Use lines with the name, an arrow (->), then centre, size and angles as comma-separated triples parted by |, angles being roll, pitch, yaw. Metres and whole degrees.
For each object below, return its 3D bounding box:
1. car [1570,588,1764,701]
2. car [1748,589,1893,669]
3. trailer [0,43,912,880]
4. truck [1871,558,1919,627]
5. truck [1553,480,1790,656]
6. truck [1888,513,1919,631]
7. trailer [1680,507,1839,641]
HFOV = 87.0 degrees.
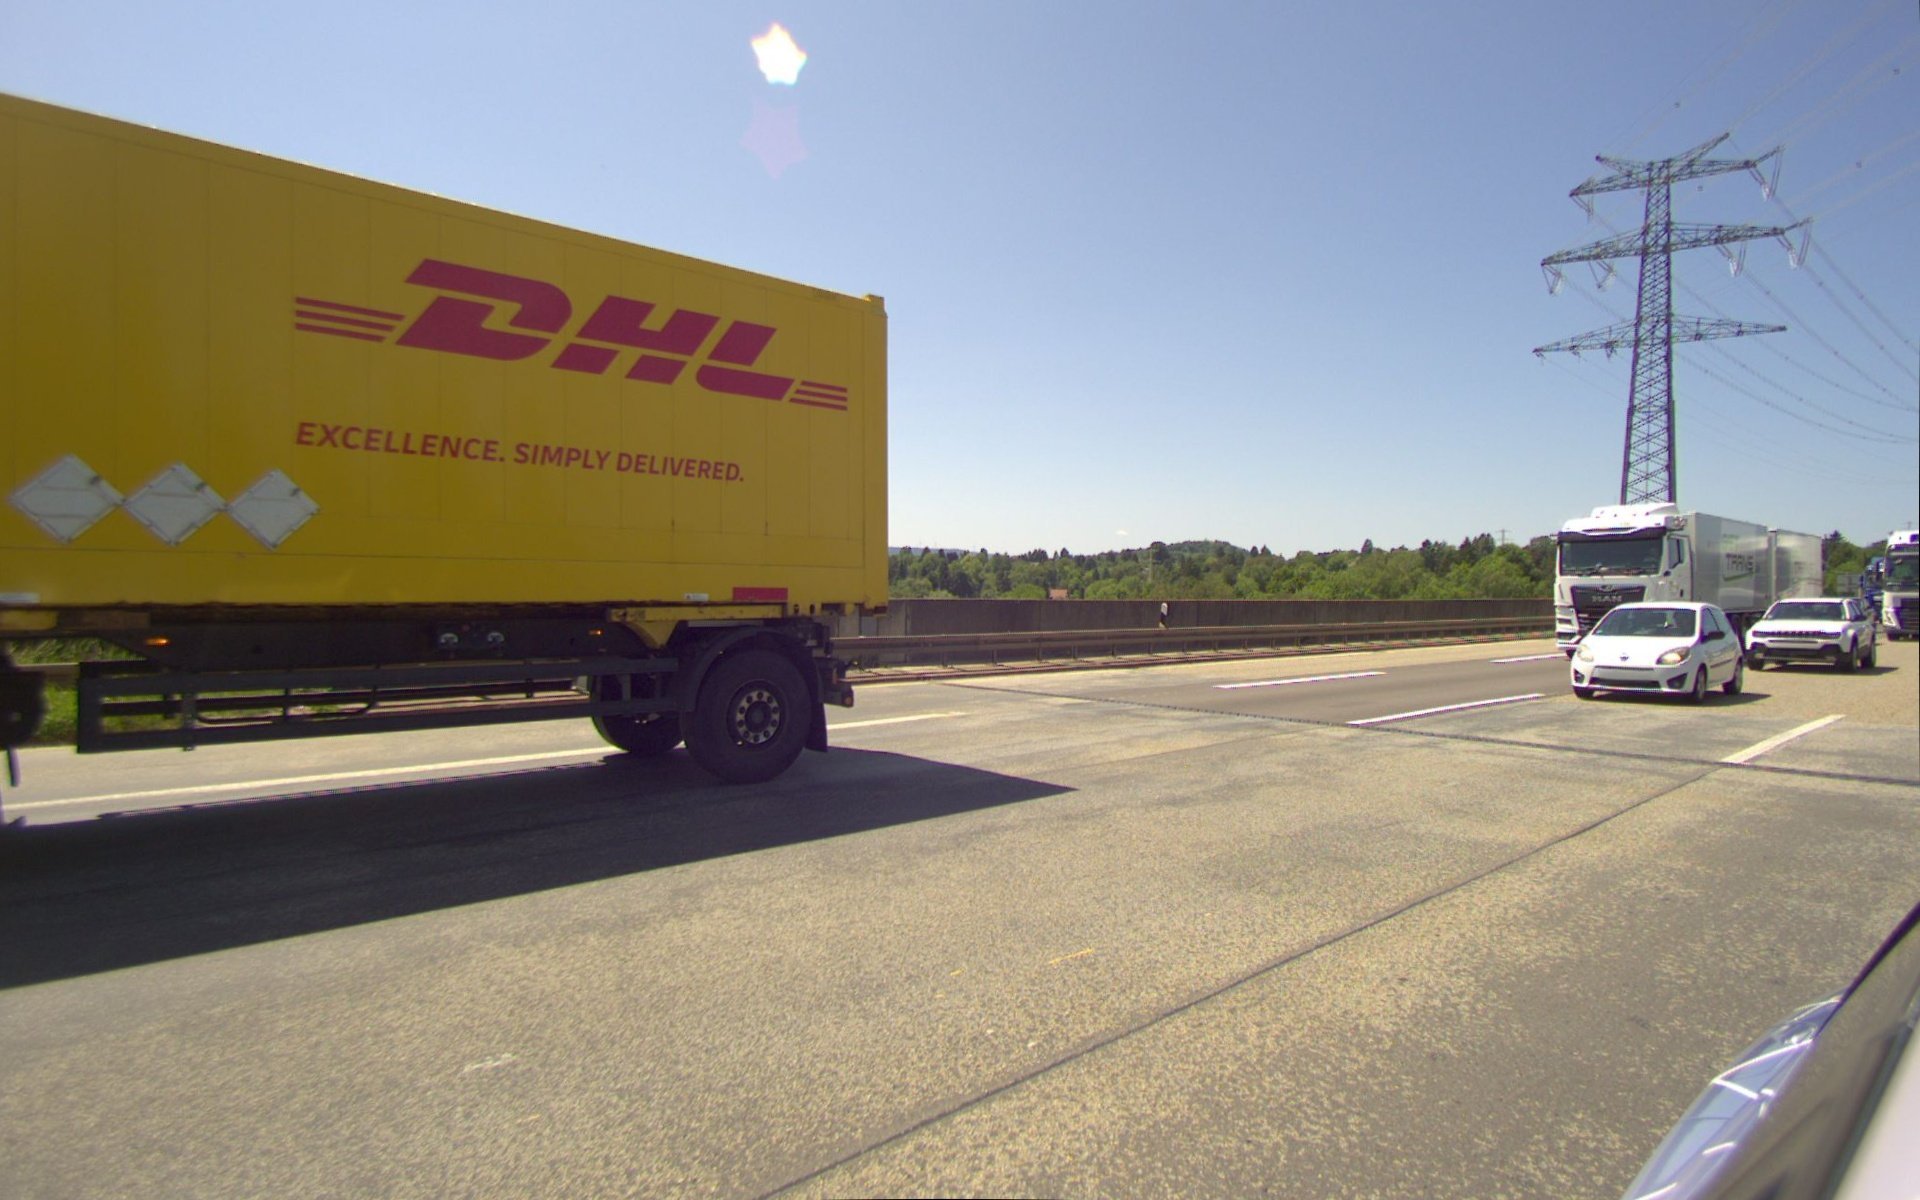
car -> 11.107, 0.604, 15.808 | 3.760, 1.529, 1.657 | -1, 0, -42
car -> 18.513, 0.559, 21.728 | 3.784, 1.549, 1.775 | -1, 0, -40
trailer -> -4.789, -0.696, 6.862 | 9.214, 4.170, 2.769 | 0, -1, -41
truck -> 58.086, -0.514, 61.410 | 11.079, 3.929, 2.838 | -1, 0, -41
truck -> 19.698, -0.757, 27.586 | 11.100, 3.980, 2.693 | 0, 0, -41
truck -> 38.902, -1.000, 39.087 | 14.003, 4.090, 2.716 | 0, -1, -40
trailer -> 26.797, -0.795, 33.775 | 7.638, 3.991, 2.750 | 0, -1, -41
